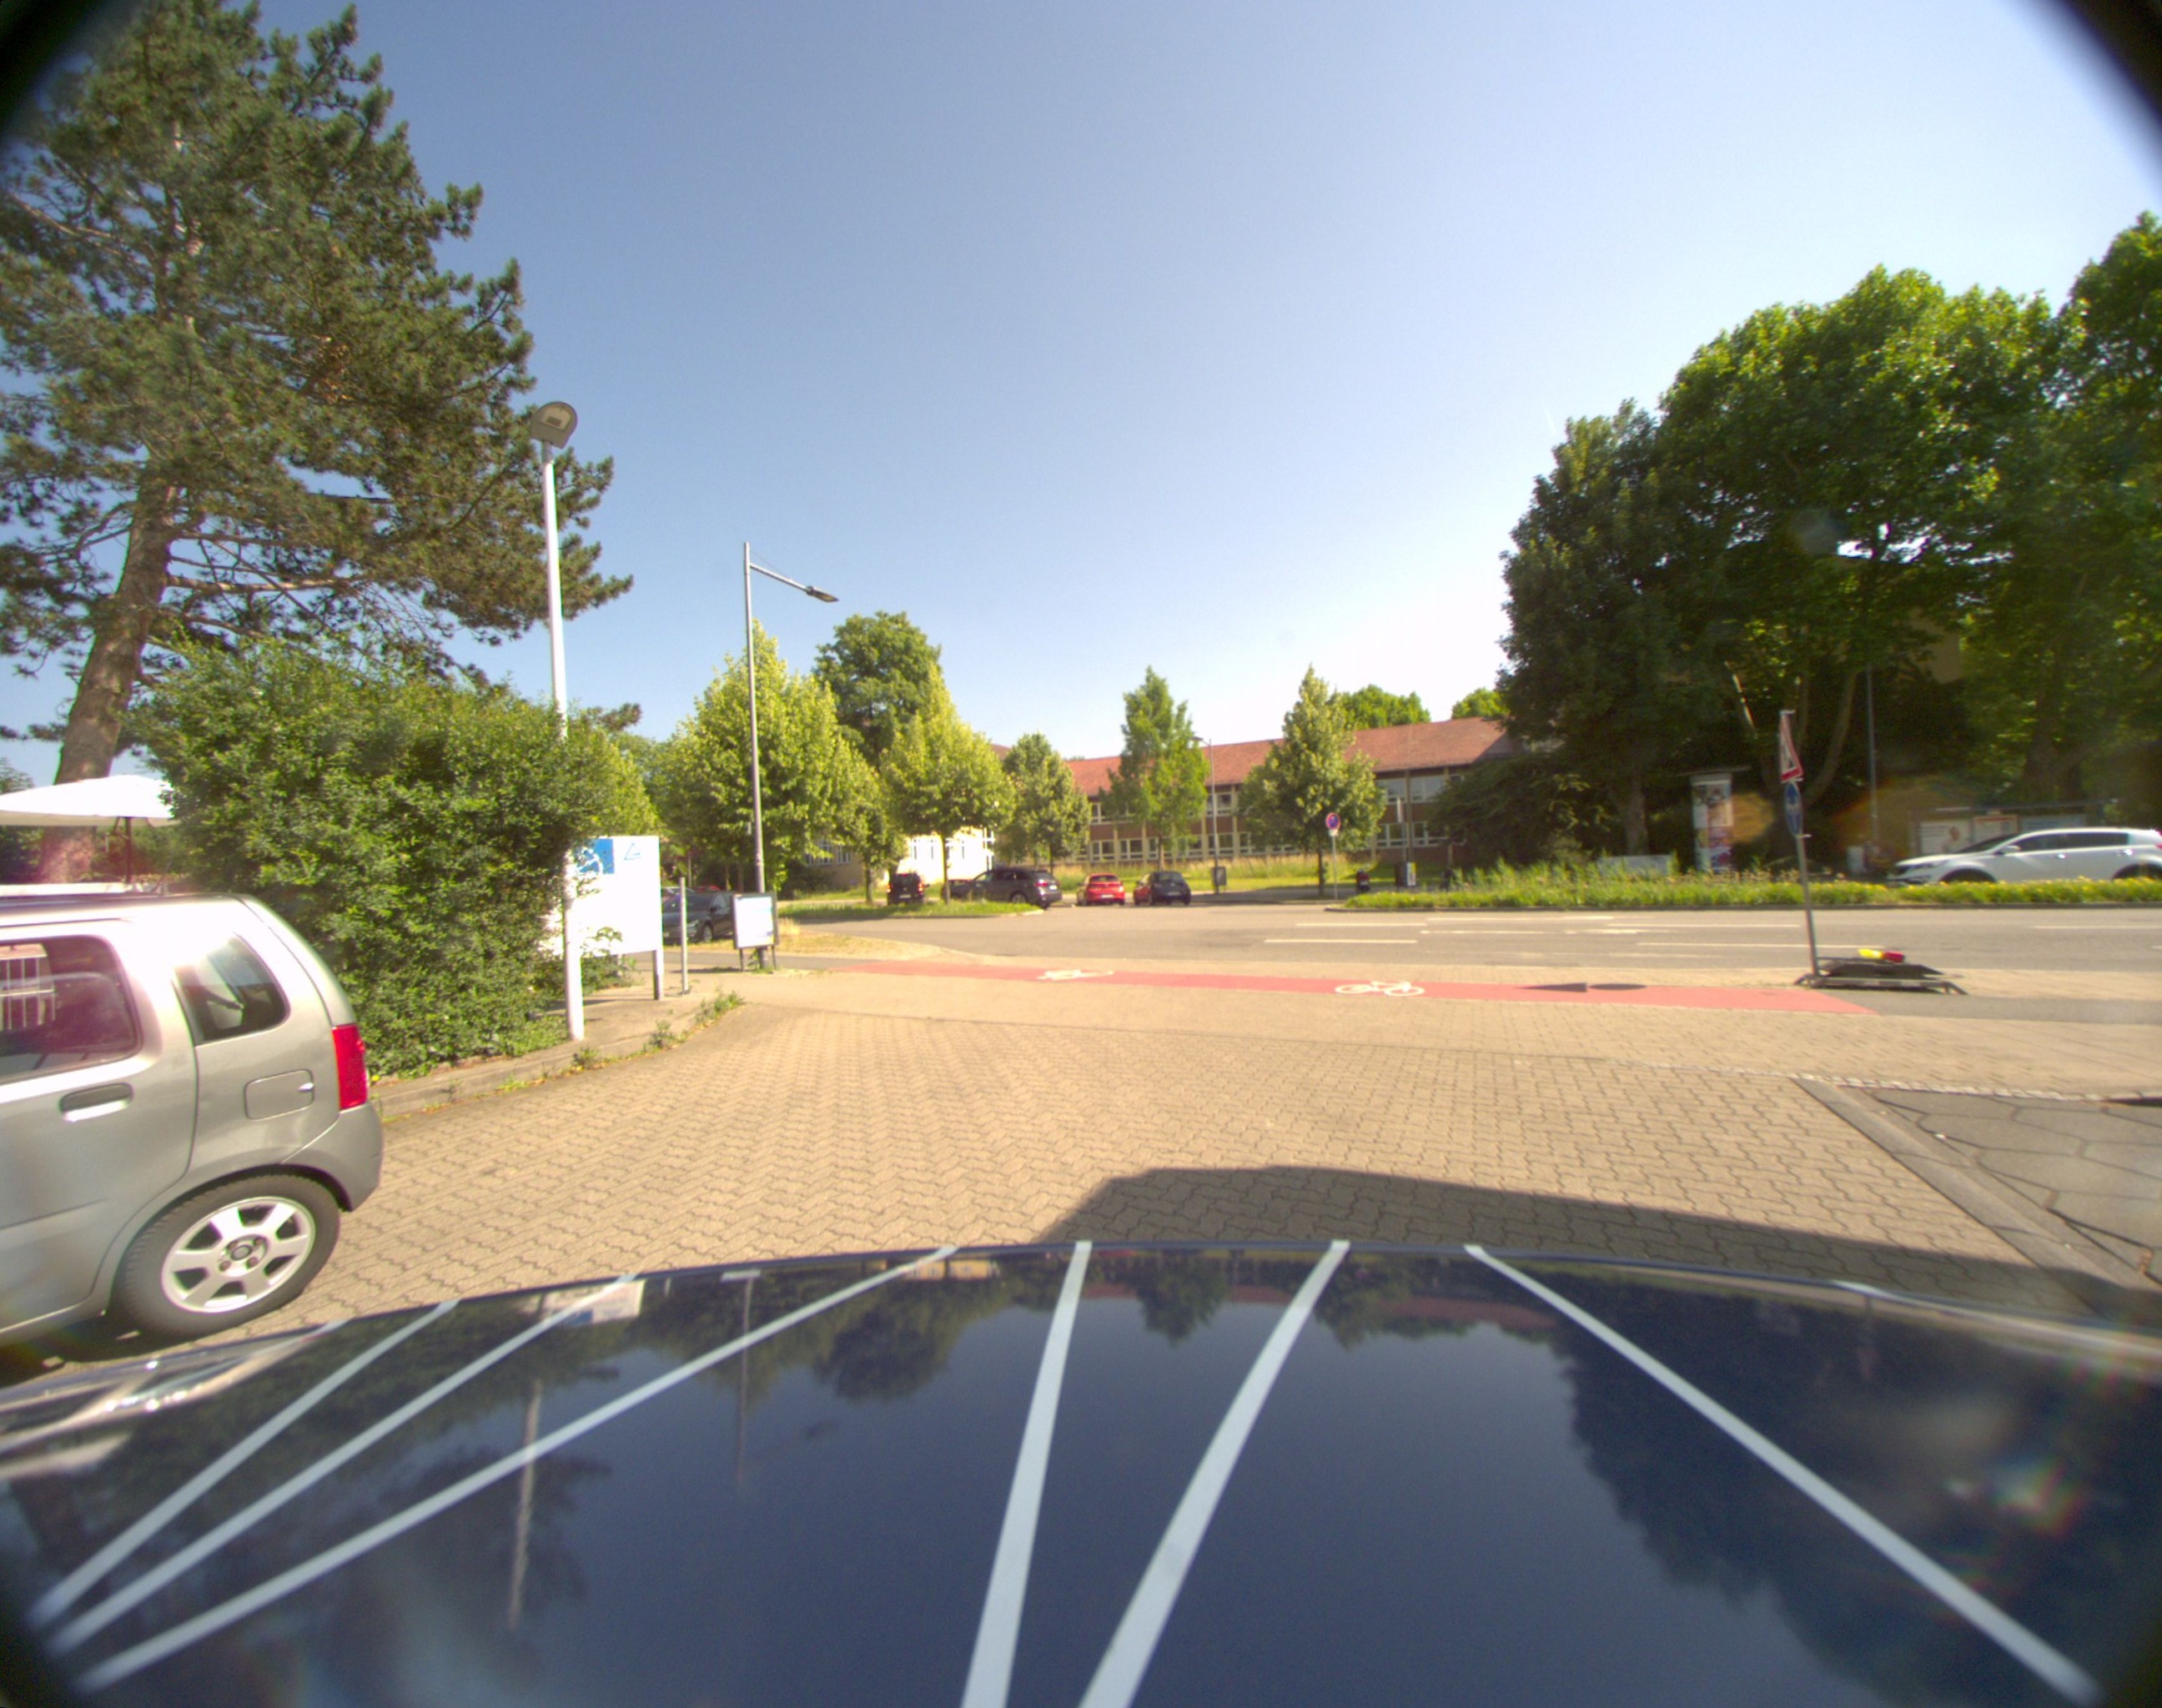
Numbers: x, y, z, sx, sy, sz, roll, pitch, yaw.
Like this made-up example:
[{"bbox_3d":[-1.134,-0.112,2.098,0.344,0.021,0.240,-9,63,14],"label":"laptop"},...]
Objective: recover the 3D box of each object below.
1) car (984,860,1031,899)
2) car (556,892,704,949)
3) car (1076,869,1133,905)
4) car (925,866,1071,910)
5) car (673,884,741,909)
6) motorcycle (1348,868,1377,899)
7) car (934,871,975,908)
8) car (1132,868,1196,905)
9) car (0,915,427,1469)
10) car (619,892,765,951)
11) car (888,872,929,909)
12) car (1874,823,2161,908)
[{"bbox_3d":[-3.492,1.238,36.730,1.880,1.711,4.227,-1,-2,-1],"label":"car"},{"bbox_3d":[-13.585,1.945,23.222,1.880,1.472,4.228,-2,-2,2],"label":"car"},{"bbox_3d":[0.977,1.472,34.159,1.881,1.450,4.224,-1,-2,-8],"label":"car"},{"bbox_3d":[-3.368,1.397,30.595,5.645,1.601,2.004,-3,-3,27],"label":"car"},{"bbox_3d":[-22.791,2.574,46.422,1.878,1.382,3.731,-1,-2,10],"label":"car"},{"bbox_3d":[10.644,1.085,28.797,0.557,1.107,1.760,-2,-1,5],"label":"motorcycle"},{"bbox_3d":[-6.344,1.754,37.948,1.882,1.711,4.223,-1,-2,-11],"label":"car"},{"bbox_3d":[3.482,1.408,32.808,1.741,1.450,4.225,-2,-2,-8],"label":"car"},{"bbox_3d":[-4.495,1.156,2.080,1.688,1.608,3.668,-3,1,30],"label":"car"},{"bbox_3d":[-10.881,1.849,21.656,1.880,1.408,4.228,-2,-2,2],"label":"car"},{"bbox_3d":[-8.642,1.813,38.329,1.882,1.711,4.223,-1,-2,-11],"label":"car"},{"bbox_3d":[21.978,0.288,17.722,4.380,1.758,2.004,-3,0,29],"label":"car"}]
